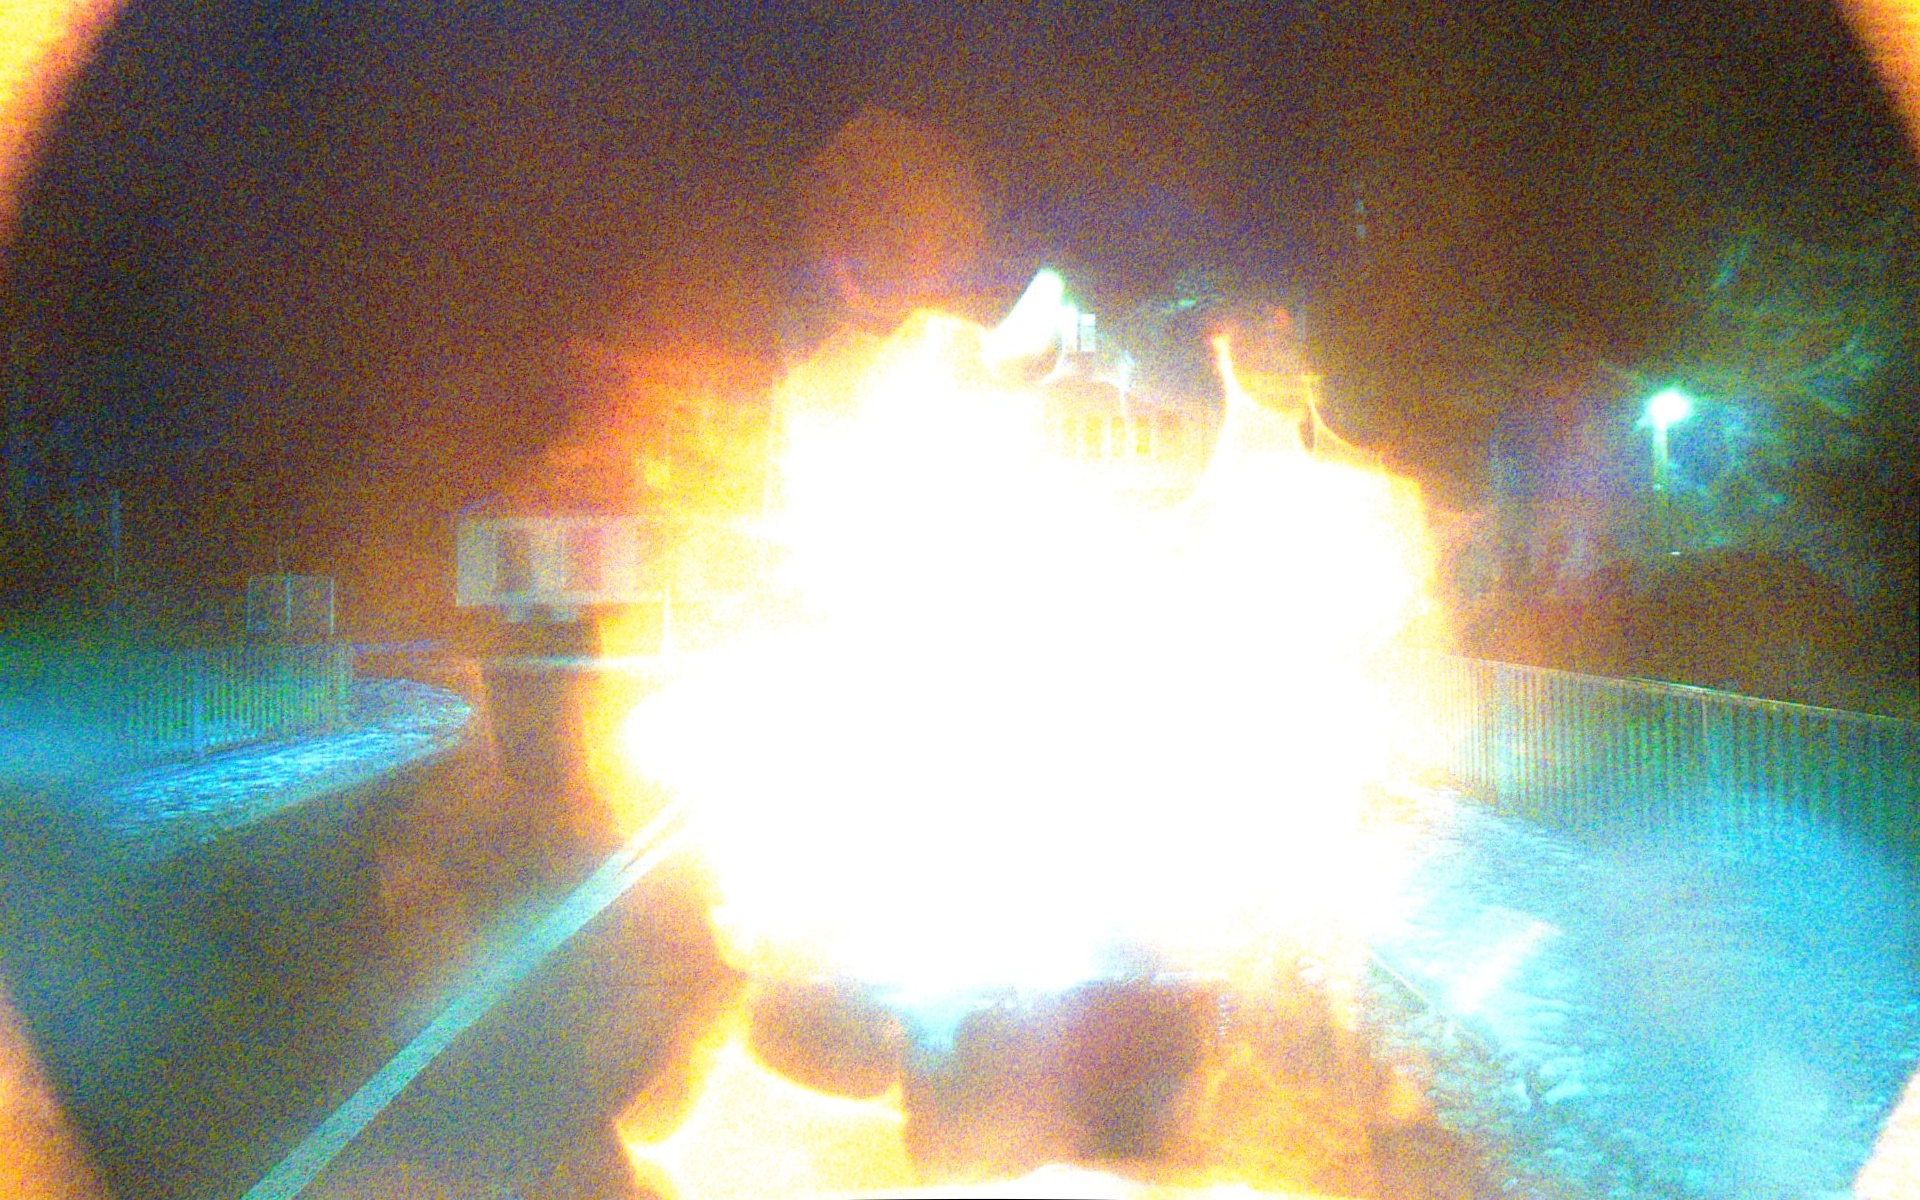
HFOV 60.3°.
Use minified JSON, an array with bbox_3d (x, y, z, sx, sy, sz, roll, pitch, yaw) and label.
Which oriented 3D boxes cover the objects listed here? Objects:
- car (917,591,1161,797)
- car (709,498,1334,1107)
[{"bbox_3d":[0.640,0.651,13.621,1.707,1.440,4.001,0,0,2],"label":"car"},{"bbox_3d":[0.186,0.547,6.607,1.754,1.710,3.905,0,1,0],"label":"car"}]
